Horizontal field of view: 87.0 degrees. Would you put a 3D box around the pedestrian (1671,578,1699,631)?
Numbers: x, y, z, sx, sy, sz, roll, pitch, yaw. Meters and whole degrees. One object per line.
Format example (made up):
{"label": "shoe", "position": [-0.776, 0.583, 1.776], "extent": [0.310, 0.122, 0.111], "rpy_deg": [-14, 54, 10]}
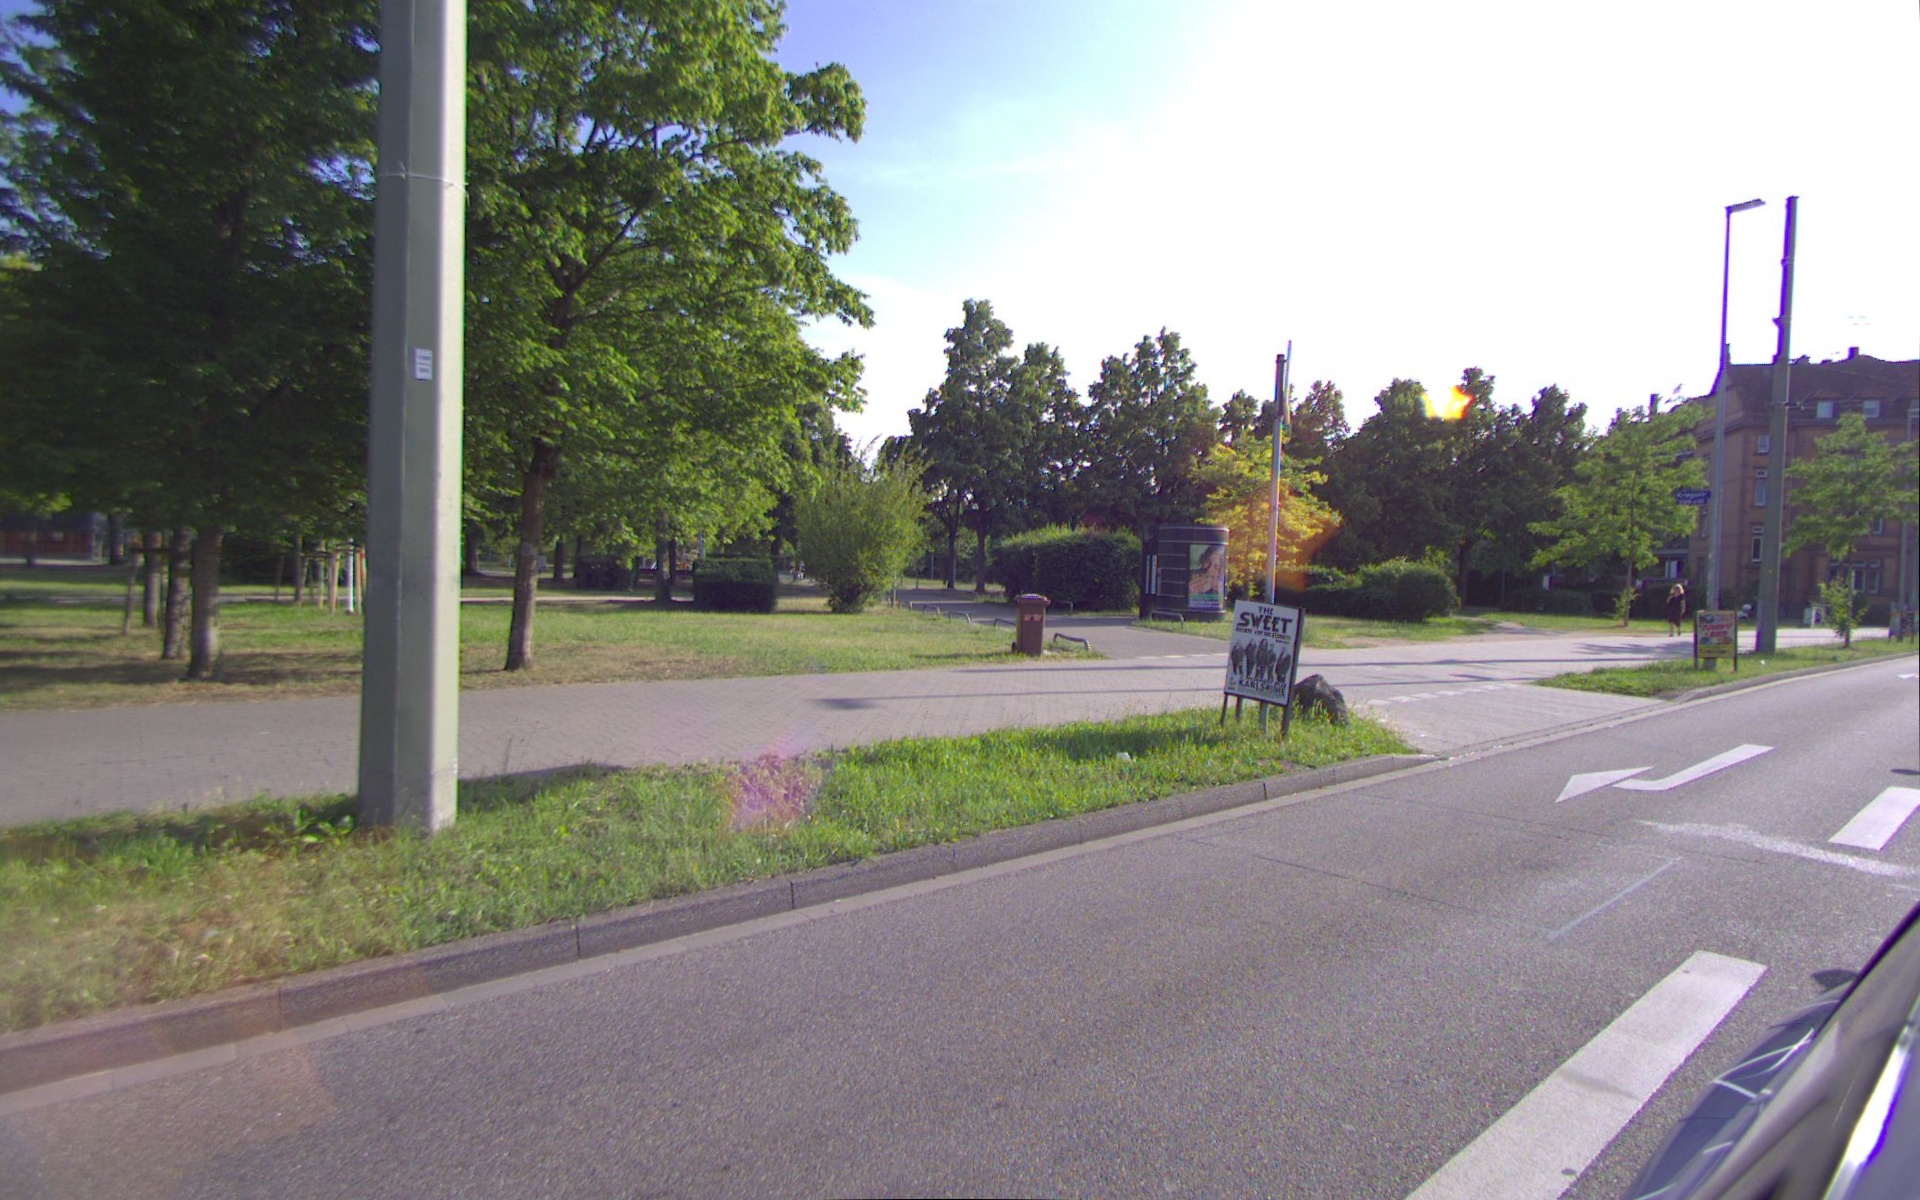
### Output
{"label": "pedestrian", "position": [23.685, 0.147, 33.050], "extent": [0.607, 1.706, 0.621], "rpy_deg": [1, 0, -40]}

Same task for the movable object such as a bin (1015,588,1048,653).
{"label": "movable object such as a bin", "position": [1.082, 0.303, 15.410], "extent": [0.447, 0.929, 0.605], "rpy_deg": [2, 2, 1]}
